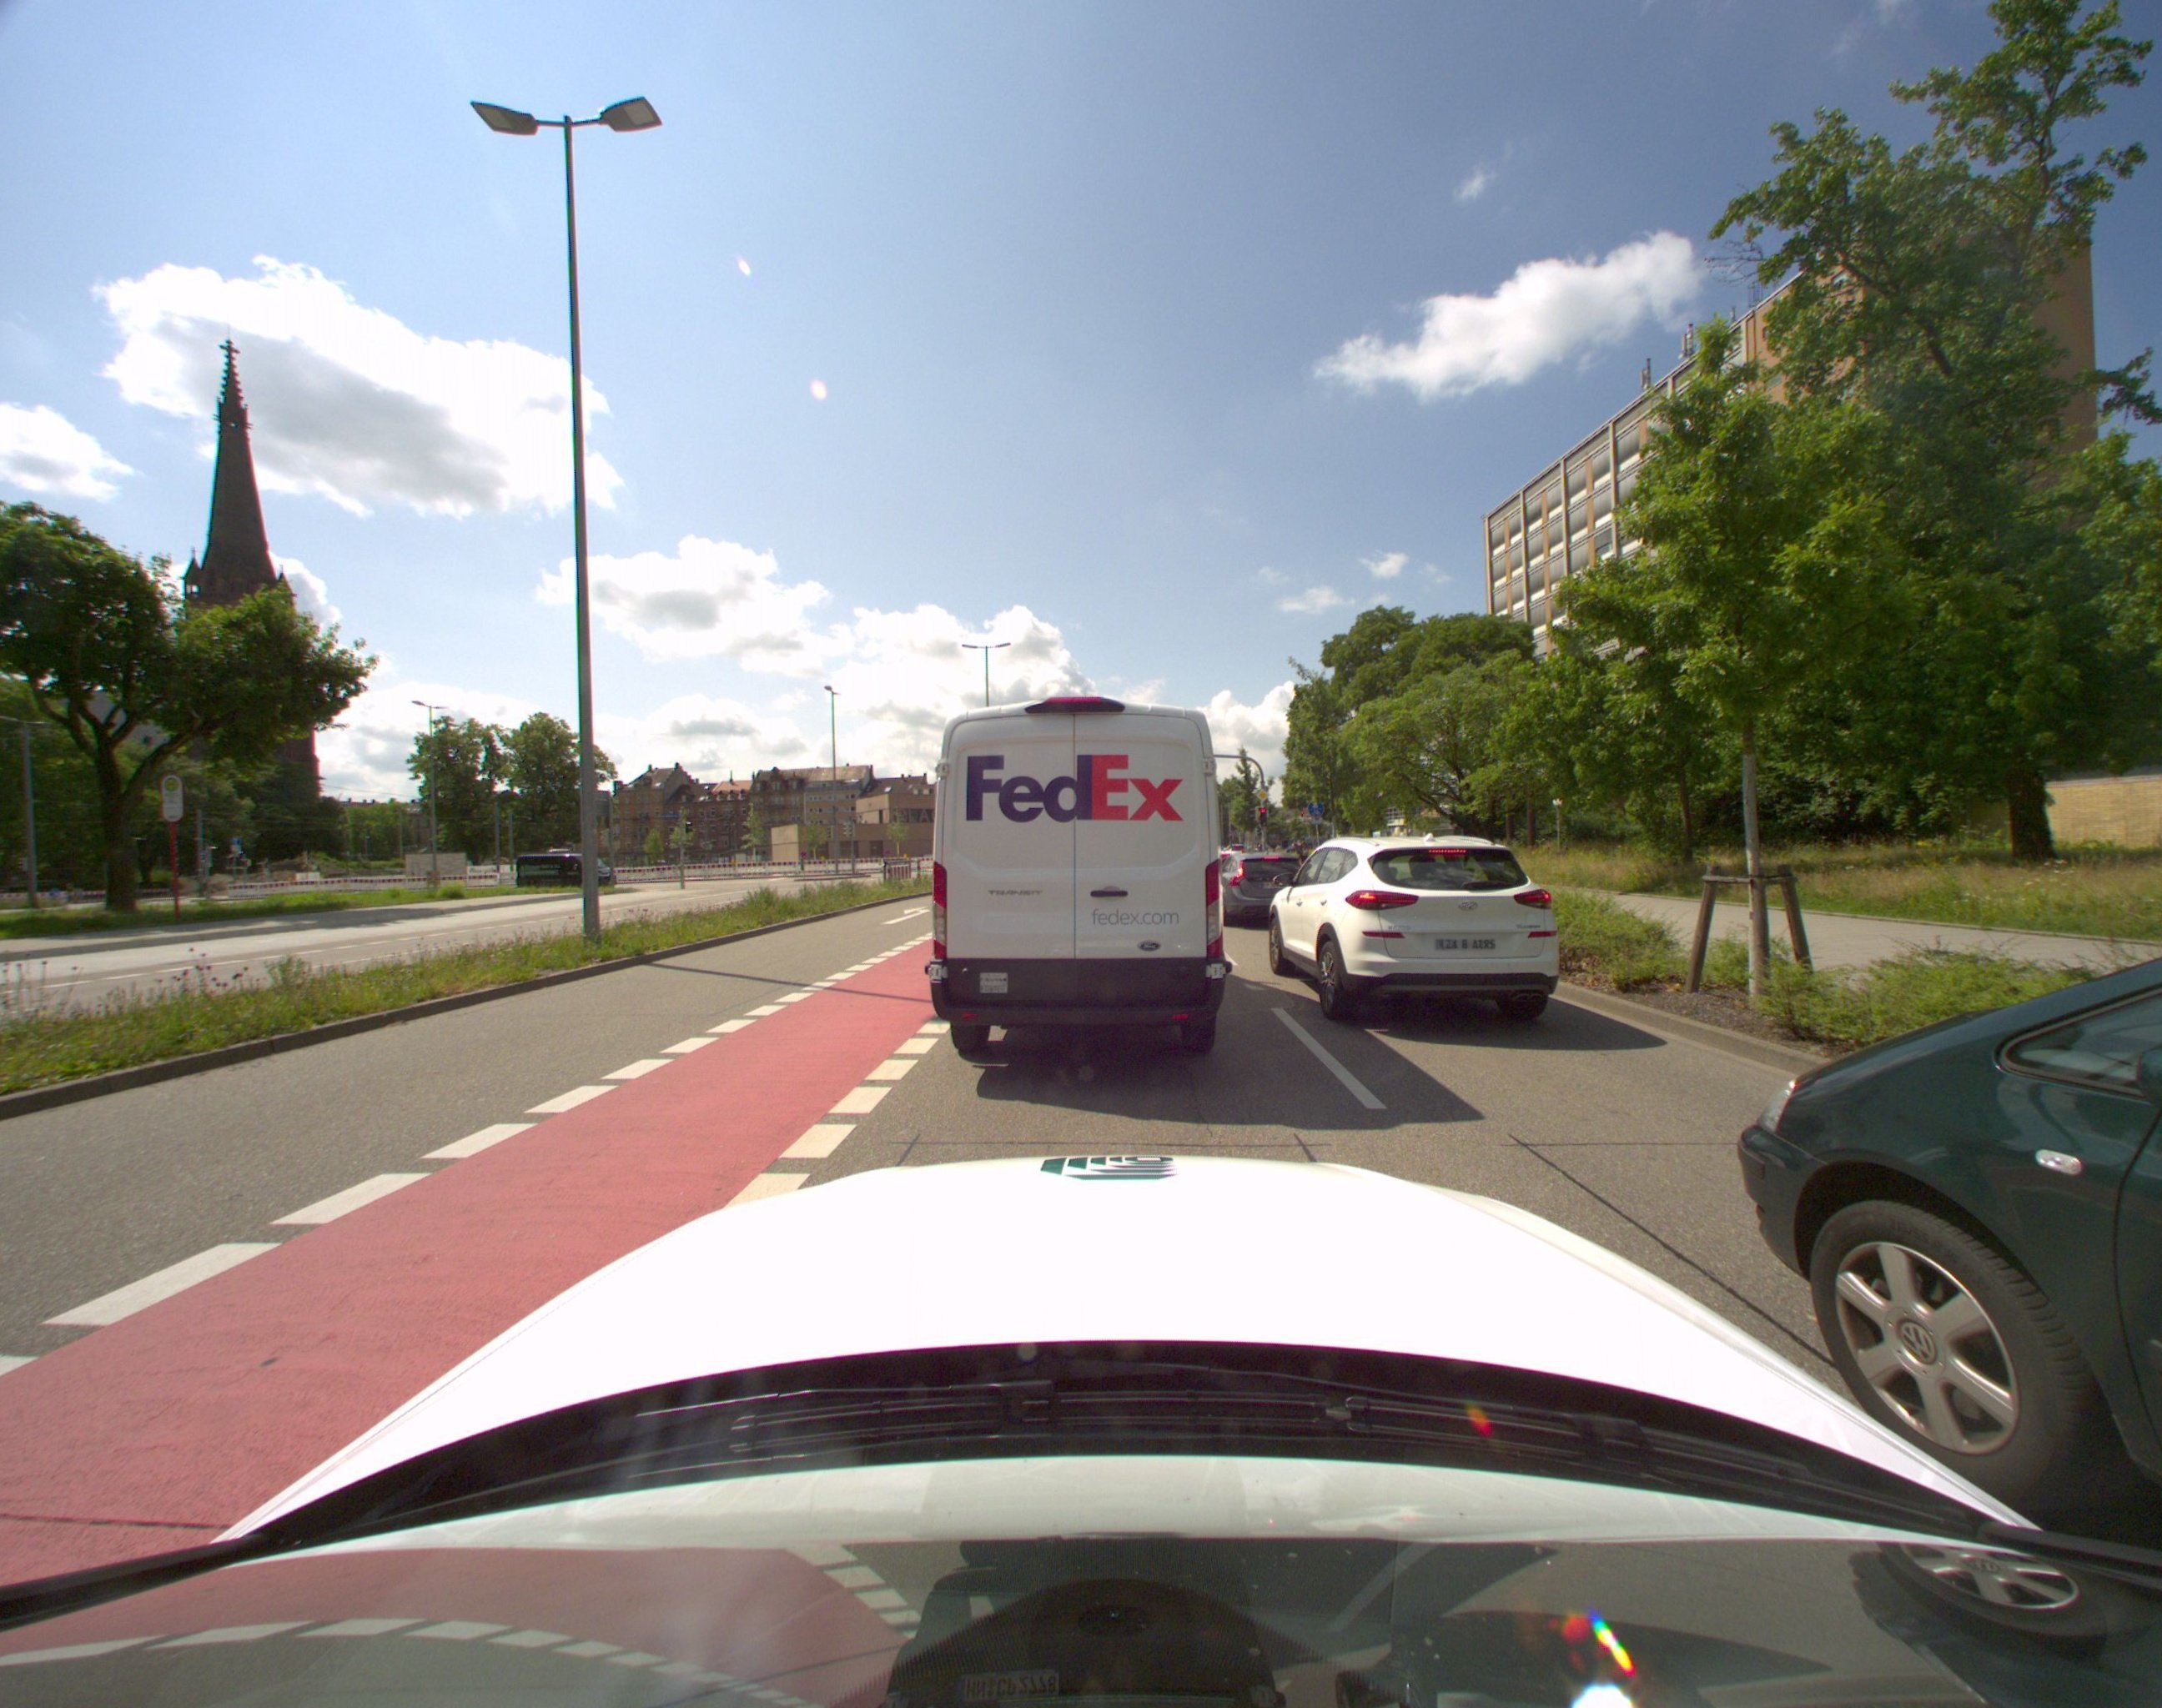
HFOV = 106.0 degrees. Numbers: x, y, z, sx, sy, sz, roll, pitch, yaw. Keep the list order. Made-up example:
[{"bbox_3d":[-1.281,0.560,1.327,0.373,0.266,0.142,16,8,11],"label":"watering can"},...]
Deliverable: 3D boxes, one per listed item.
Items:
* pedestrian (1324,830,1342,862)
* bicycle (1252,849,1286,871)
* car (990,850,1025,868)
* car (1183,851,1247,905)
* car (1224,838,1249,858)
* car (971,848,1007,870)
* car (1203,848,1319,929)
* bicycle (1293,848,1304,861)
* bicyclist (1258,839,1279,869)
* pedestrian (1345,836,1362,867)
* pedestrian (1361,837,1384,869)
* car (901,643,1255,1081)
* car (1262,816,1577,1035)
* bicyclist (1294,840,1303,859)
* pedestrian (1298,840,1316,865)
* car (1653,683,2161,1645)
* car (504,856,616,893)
[{"bbox_3d":[16.611,-0.512,53.636,0.843,2.058,0.739,-2,0,-5],"label":"pedestrian"},{"bbox_3d":[11.834,0.393,51.151,2.071,1.290,0.600,-2,0,-20],"label":"bicycle"},{"bbox_3d":[-7.002,0.453,78.016,1.886,1.585,4.017,-2,0,16],"label":"car"},{"bbox_3d":[3.846,0.643,23.761,1.478,1.428,3.436,-2,0,4],"label":"car"},{"bbox_3d":[16.577,-0.675,86.802,2.076,2.013,4.665,-2,0,17],"label":"car"},{"bbox_3d":[-8.910,0.439,79.392,1.978,2.013,4.017,-2,0,16],"label":"car"},{"bbox_3d":[3.640,0.626,17.092,1.790,1.461,3.842,-2,0,4],"label":"car"},{"bbox_3d":[16.844,0.031,63.058,0.543,1.030,1.931,-2,0,8],"label":"bicycle"},{"bbox_3d":[11.747,-0.008,51.110,1.122,1.844,0.589,-2,1,-19],"label":"bicyclist"},{"bbox_3d":[17.971,-0.189,53.743,0.841,2.013,0.741,-2,0,2],"label":"pedestrian"},{"bbox_3d":[14.766,-0.053,41.201,0.842,1.539,0.835,-2,0,1],"label":"pedestrian"},{"bbox_3d":[-0.020,0.037,7.859,2.134,2.652,5.703,-1,0,0],"label":"car"},{"bbox_3d":[3.112,0.552,8.434,1.790,1.687,4.004,-2,0,4],"label":"car"},{"bbox_3d":[16.833,-0.363,63.082,0.546,1.474,0.973,-2,0,9],"label":"bicyclist"},{"bbox_3d":[13.314,-0.089,48.031,0.842,1.389,0.741,-2,0,1],"label":"pedestrian"},{"bbox_3d":[2.829,0.556,0.580,1.806,1.734,4.389,-1,0,1],"label":"car"},{"bbox_3d":[-29.619,1.159,46.436,4.995,1.879,1.928,-2,1,-2],"label":"car"}]
